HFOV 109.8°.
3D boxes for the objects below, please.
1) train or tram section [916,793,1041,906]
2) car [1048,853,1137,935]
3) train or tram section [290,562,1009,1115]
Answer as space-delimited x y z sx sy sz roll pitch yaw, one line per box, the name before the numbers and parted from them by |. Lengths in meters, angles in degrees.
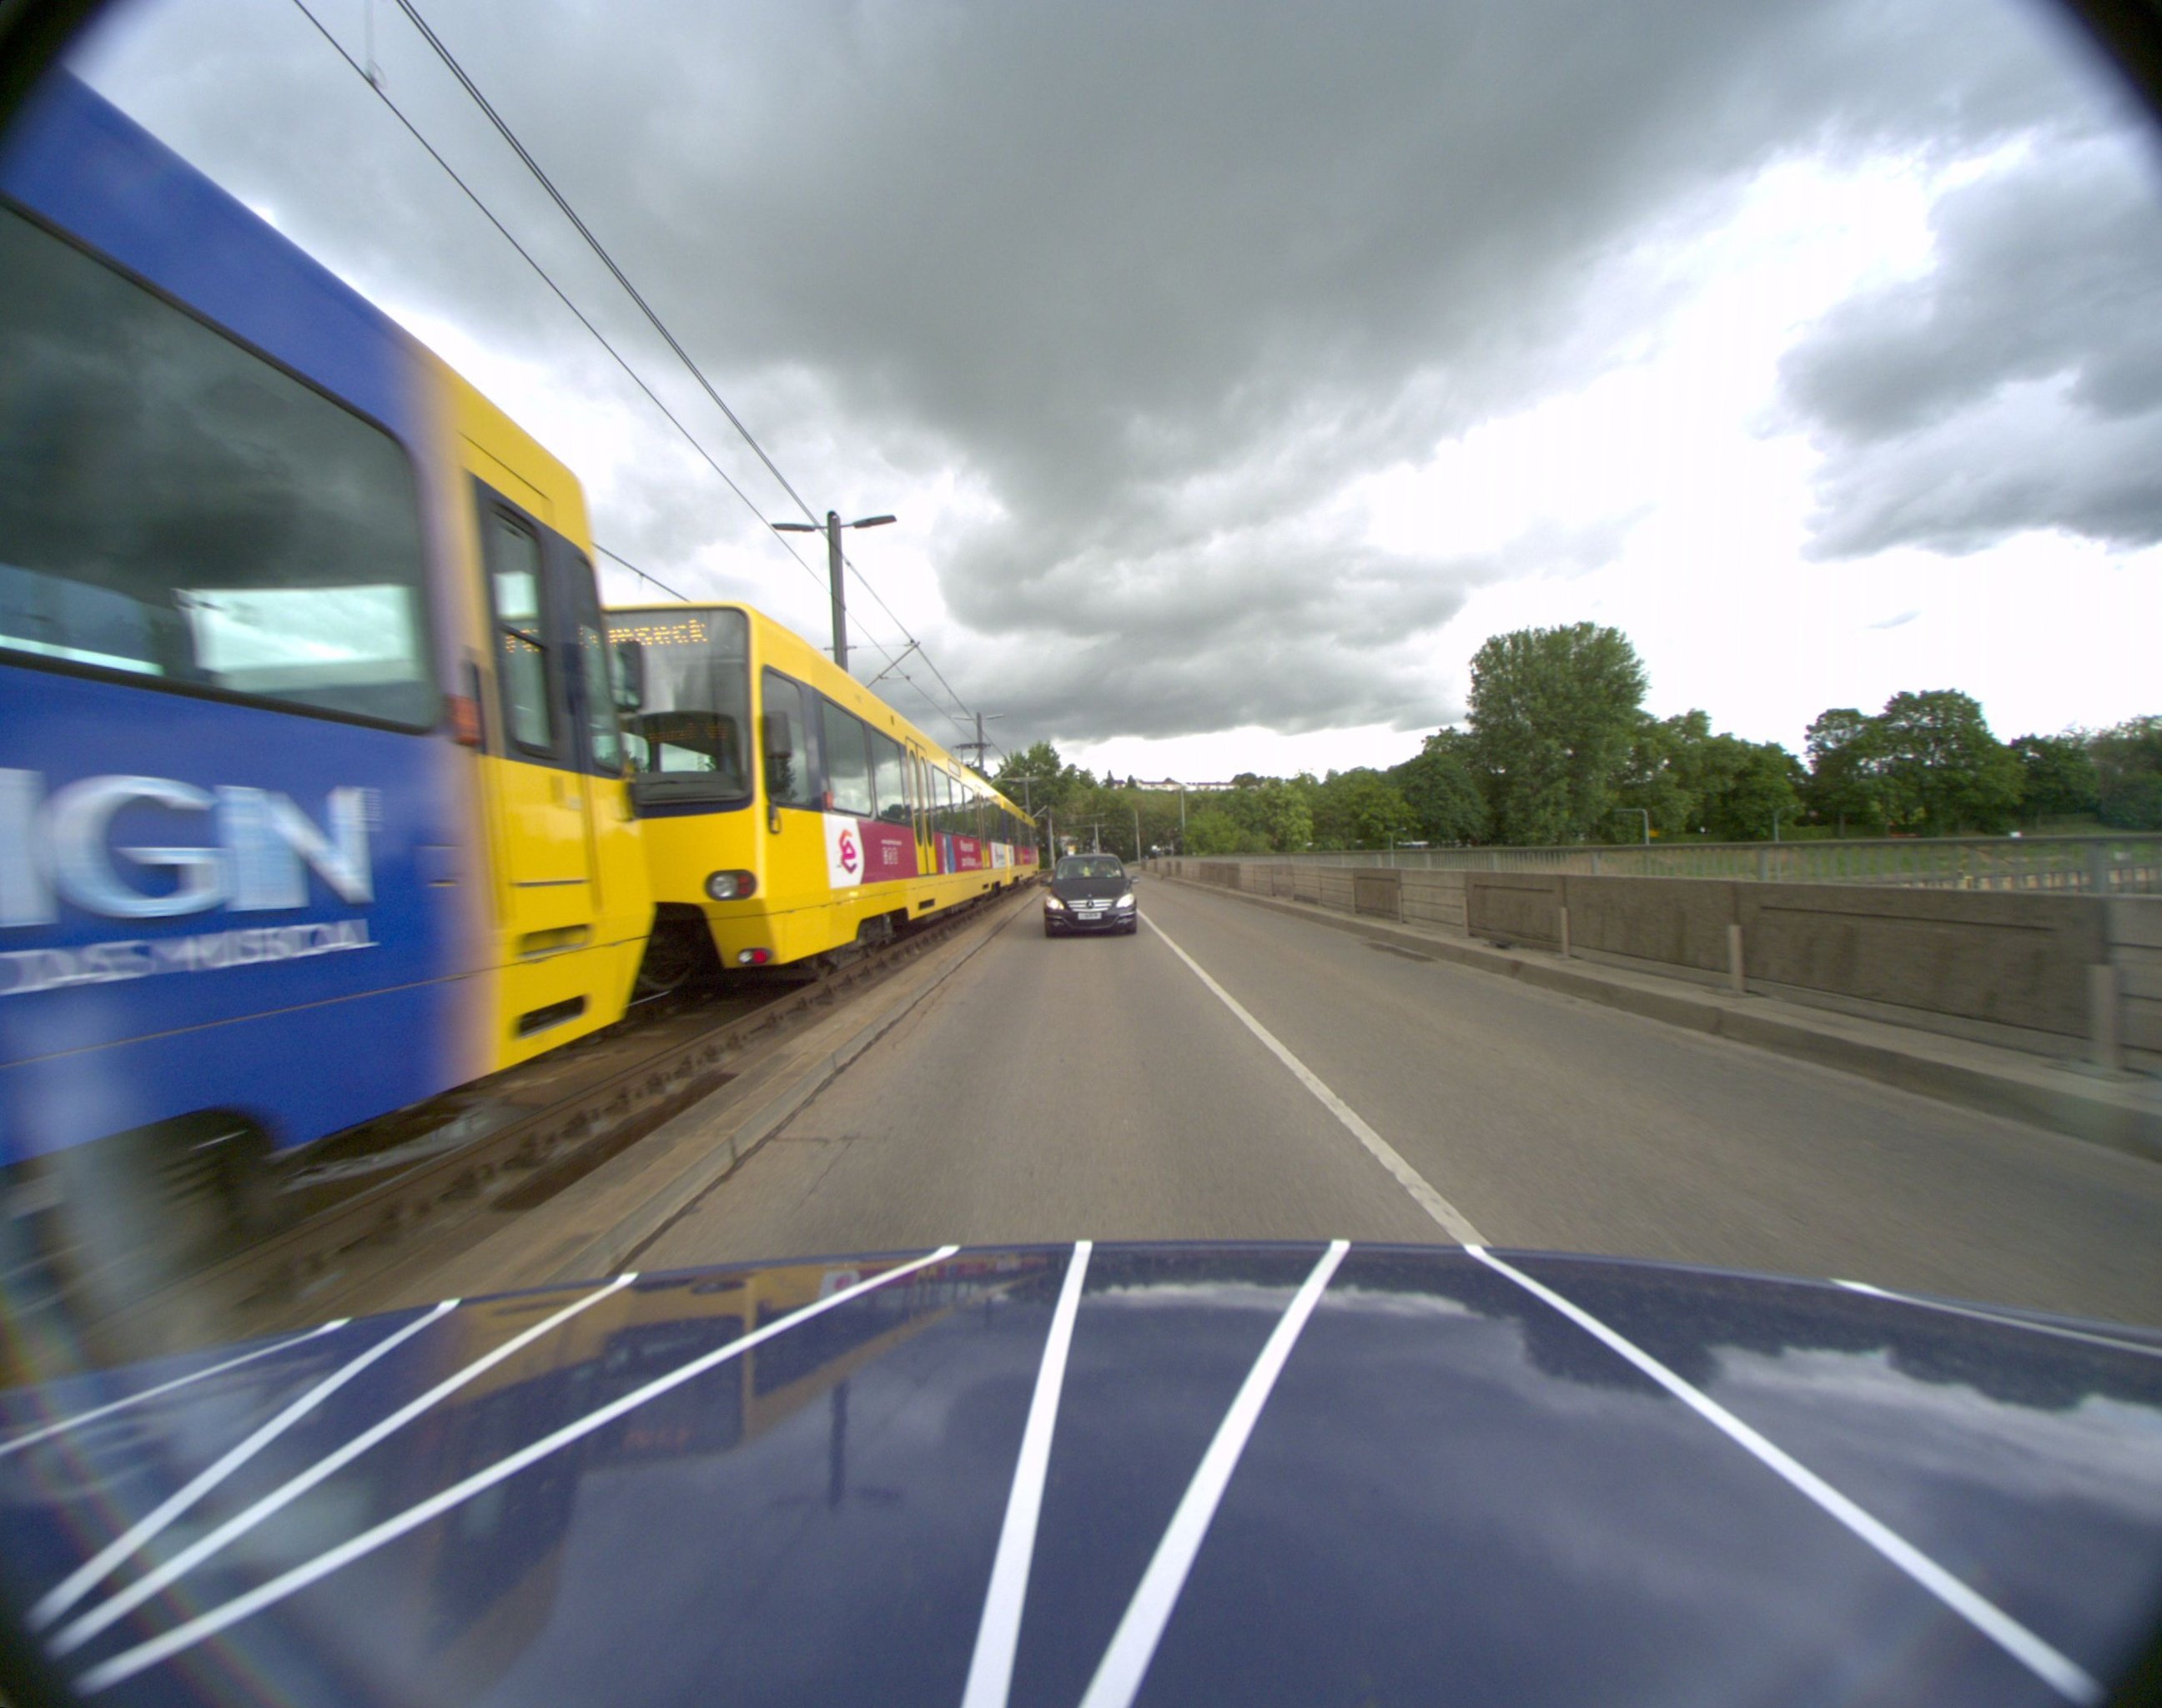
train or tram section | -3.674 -0.153 33.042 2.890 3.489 18.665 -1 0 0
car | 0.220 0.783 17.190 1.711 1.573 4.442 -2 0 0
train or tram section | -3.694 -0.114 14.293 2.837 3.559 18.665 -1 0 0
